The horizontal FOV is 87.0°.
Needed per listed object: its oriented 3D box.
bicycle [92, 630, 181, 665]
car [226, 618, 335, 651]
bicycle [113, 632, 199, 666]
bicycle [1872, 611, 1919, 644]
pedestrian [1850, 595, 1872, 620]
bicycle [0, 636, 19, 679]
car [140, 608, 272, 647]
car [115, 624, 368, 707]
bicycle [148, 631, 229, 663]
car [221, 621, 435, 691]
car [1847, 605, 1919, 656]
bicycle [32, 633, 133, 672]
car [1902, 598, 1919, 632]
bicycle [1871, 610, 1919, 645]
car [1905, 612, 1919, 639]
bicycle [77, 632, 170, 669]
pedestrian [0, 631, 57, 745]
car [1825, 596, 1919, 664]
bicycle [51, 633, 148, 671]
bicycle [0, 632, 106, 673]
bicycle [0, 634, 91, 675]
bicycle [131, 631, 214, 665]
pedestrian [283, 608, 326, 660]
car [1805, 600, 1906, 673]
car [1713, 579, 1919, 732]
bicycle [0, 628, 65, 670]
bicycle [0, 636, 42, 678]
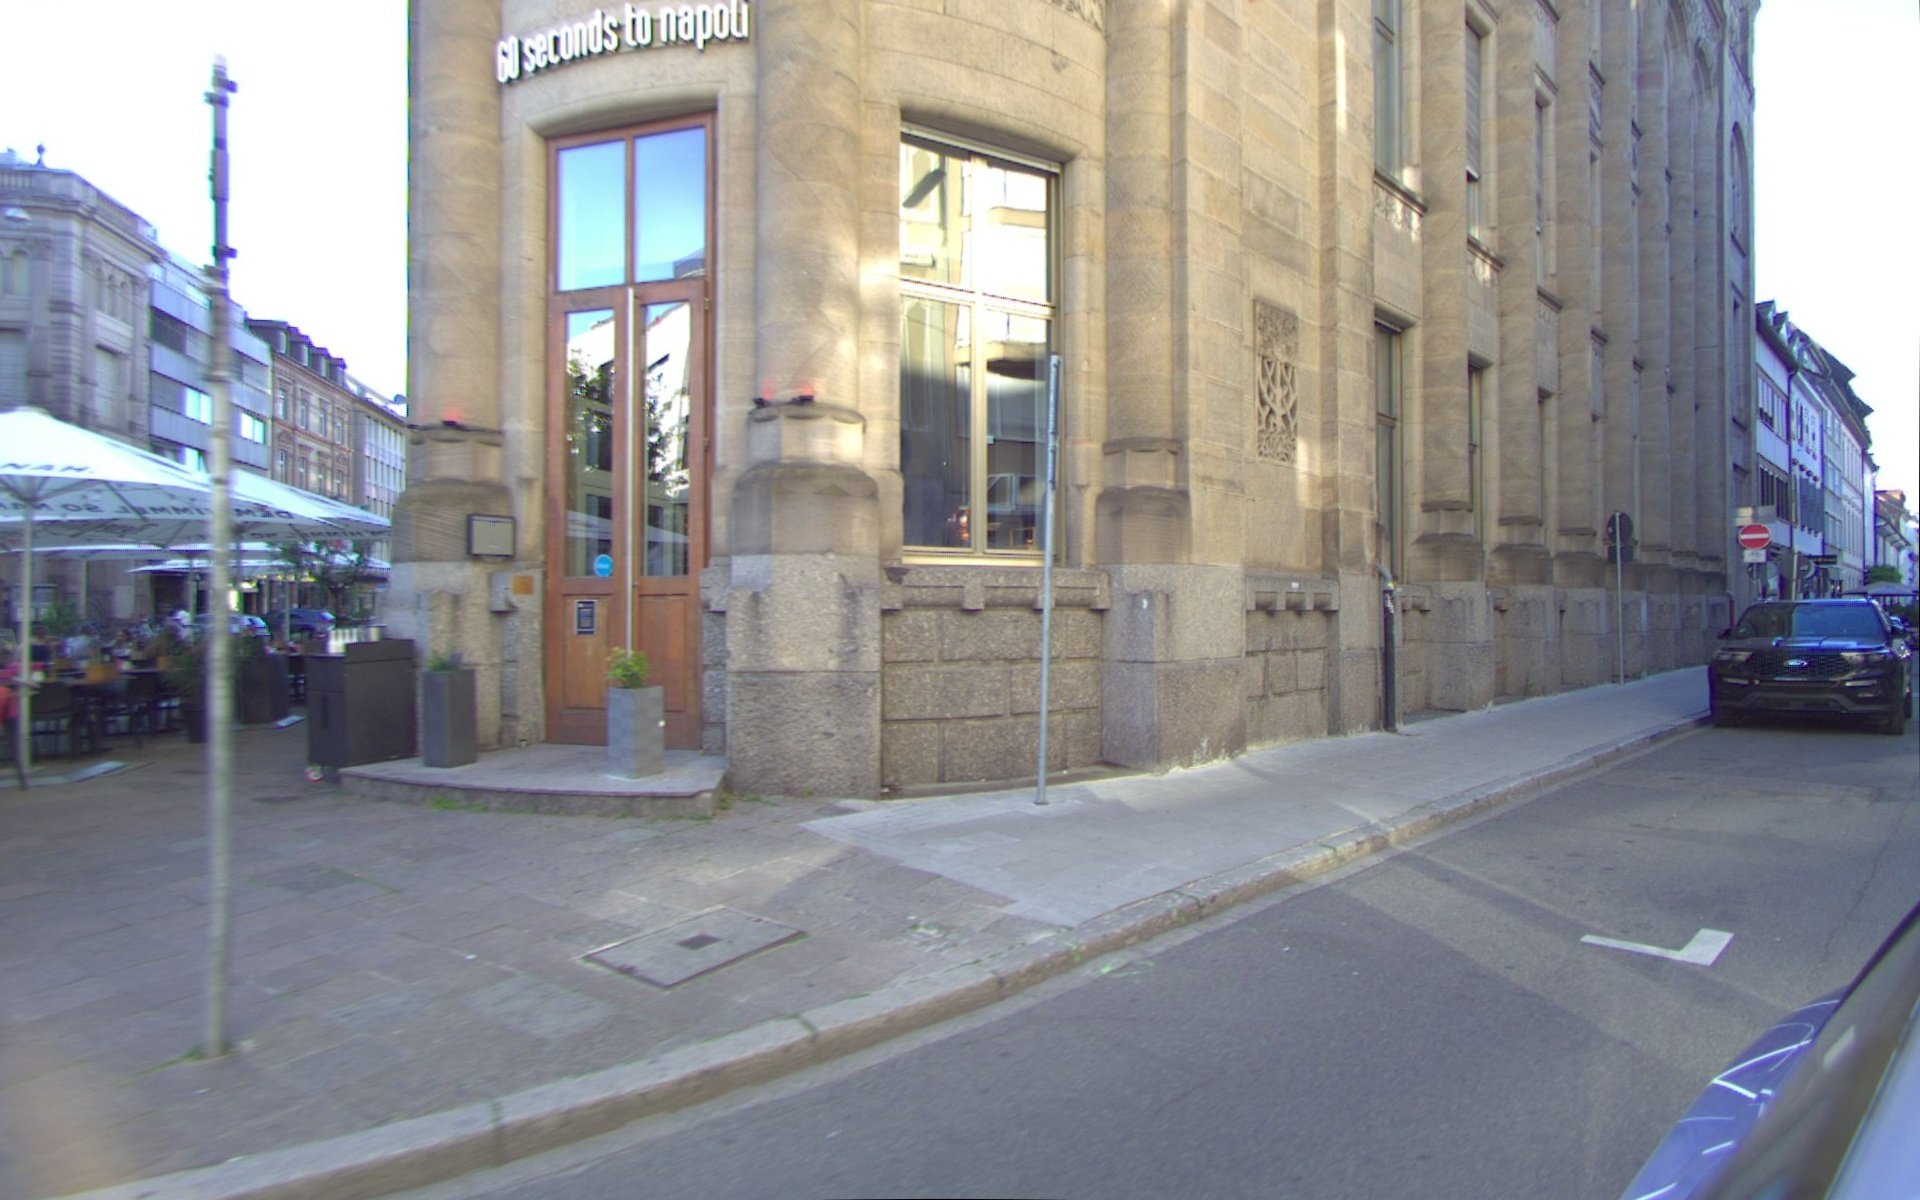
[{"bbox_3d":[-27.825,1.586,34.229,2.253,1.104,0.718,-1,-1,-16],"label":"bicycle"},{"bbox_3d":[-32.303,1.635,48.219,3.917,1.431,1.758,-1,-1,-12],"label":"car"},{"bbox_3d":[-28.071,1.691,35.380,2.253,1.104,0.718,-1,-1,-16],"label":"bicycle"},{"bbox_3d":[38.644,1.116,41.404,0.586,1.243,1.871,1,2,-43],"label":"bicycle"},{"bbox_3d":[44.989,0.379,50.530,0.635,1.259,0.735,0,-2,-42],"label":"pedestrian"},{"bbox_3d":[-26.109,1.534,26.352,2.253,1.104,0.718,-1,-1,-16],"label":"bicycle"},{"bbox_3d":[-30.422,1.097,40.958,3.917,1.431,1.758,-1,-1,-12],"label":"car"},{"bbox_3d":[-14.585,1.253,20.684,1.749,1.431,4.004,-2,-1,44],"label":"car"},{"bbox_3d":[-28.415,1.723,37.311,2.253,1.104,0.718,-1,-1,-16],"label":"bicycle"},{"bbox_3d":[-14.928,1.269,24.037,1.749,1.431,4.041,-2,-1,44],"label":"car"},{"bbox_3d":[30.073,0.954,32.722,4.908,1.536,1.690,0,-2,-44],"label":"car"},{"bbox_3d":[-27.087,1.618,31.273,2.253,1.104,0.718,-1,-1,-16],"label":"bicycle"},{"bbox_3d":[54.442,0.852,56.879,3.934,1.869,1.994,0,-2,-44],"label":"car"},{"bbox_3d":[38.164,1.102,40.934,0.586,1.319,1.871,1,2,-43],"label":"bicycle"},{"bbox_3d":[47.631,1.229,49.459,3.934,1.313,1.936,0,-2,-44],"label":"car"},{"bbox_3d":[-27.577,1.655,33.389,2.253,1.104,0.718,-1,-1,-16],"label":"bicycle"},{"bbox_3d":[-11.073,1.002,11.730,0.590,1.261,0.685,0,-2,2],"label":"pedestrian"},{"bbox_3d":[26.474,0.848,29.303,4.168,1.830,1.671,0,-2,-43],"label":"car"},{"bbox_3d":[-27.306,1.633,32.139,2.253,1.104,0.718,-1,-1,-16],"label":"bicycle"},{"bbox_3d":[-26.938,1.551,30.103,2.253,1.104,0.718,-1,-1,-16],"label":"bicycle"},{"bbox_3d":[-26.699,1.584,29.276,2.253,1.104,0.718,-1,-1,-16],"label":"bicycle"},{"bbox_3d":[-28.215,1.706,36.303,2.253,1.104,0.718,-1,-1,-16],"label":"bicycle"},{"bbox_3d":[-22.722,1.171,35.095,0.953,1.772,1.004,0,-1,-10],"label":"pedestrian"},{"bbox_3d":[22.613,0.850,25.532,1.772,1.687,3.938,-1,-1,43],"label":"car"},{"bbox_3d":[12.327,0.681,14.339,1.994,1.806,4.855,-2,-1,44],"label":"car"},{"bbox_3d":[-26.492,1.369,28.179,2.253,1.104,0.718,-1,-1,-16],"label":"bicycle"},{"bbox_3d":[-26.297,1.550,27.261,2.253,1.104,0.718,-1,-1,-16],"label":"bicycle"}]
